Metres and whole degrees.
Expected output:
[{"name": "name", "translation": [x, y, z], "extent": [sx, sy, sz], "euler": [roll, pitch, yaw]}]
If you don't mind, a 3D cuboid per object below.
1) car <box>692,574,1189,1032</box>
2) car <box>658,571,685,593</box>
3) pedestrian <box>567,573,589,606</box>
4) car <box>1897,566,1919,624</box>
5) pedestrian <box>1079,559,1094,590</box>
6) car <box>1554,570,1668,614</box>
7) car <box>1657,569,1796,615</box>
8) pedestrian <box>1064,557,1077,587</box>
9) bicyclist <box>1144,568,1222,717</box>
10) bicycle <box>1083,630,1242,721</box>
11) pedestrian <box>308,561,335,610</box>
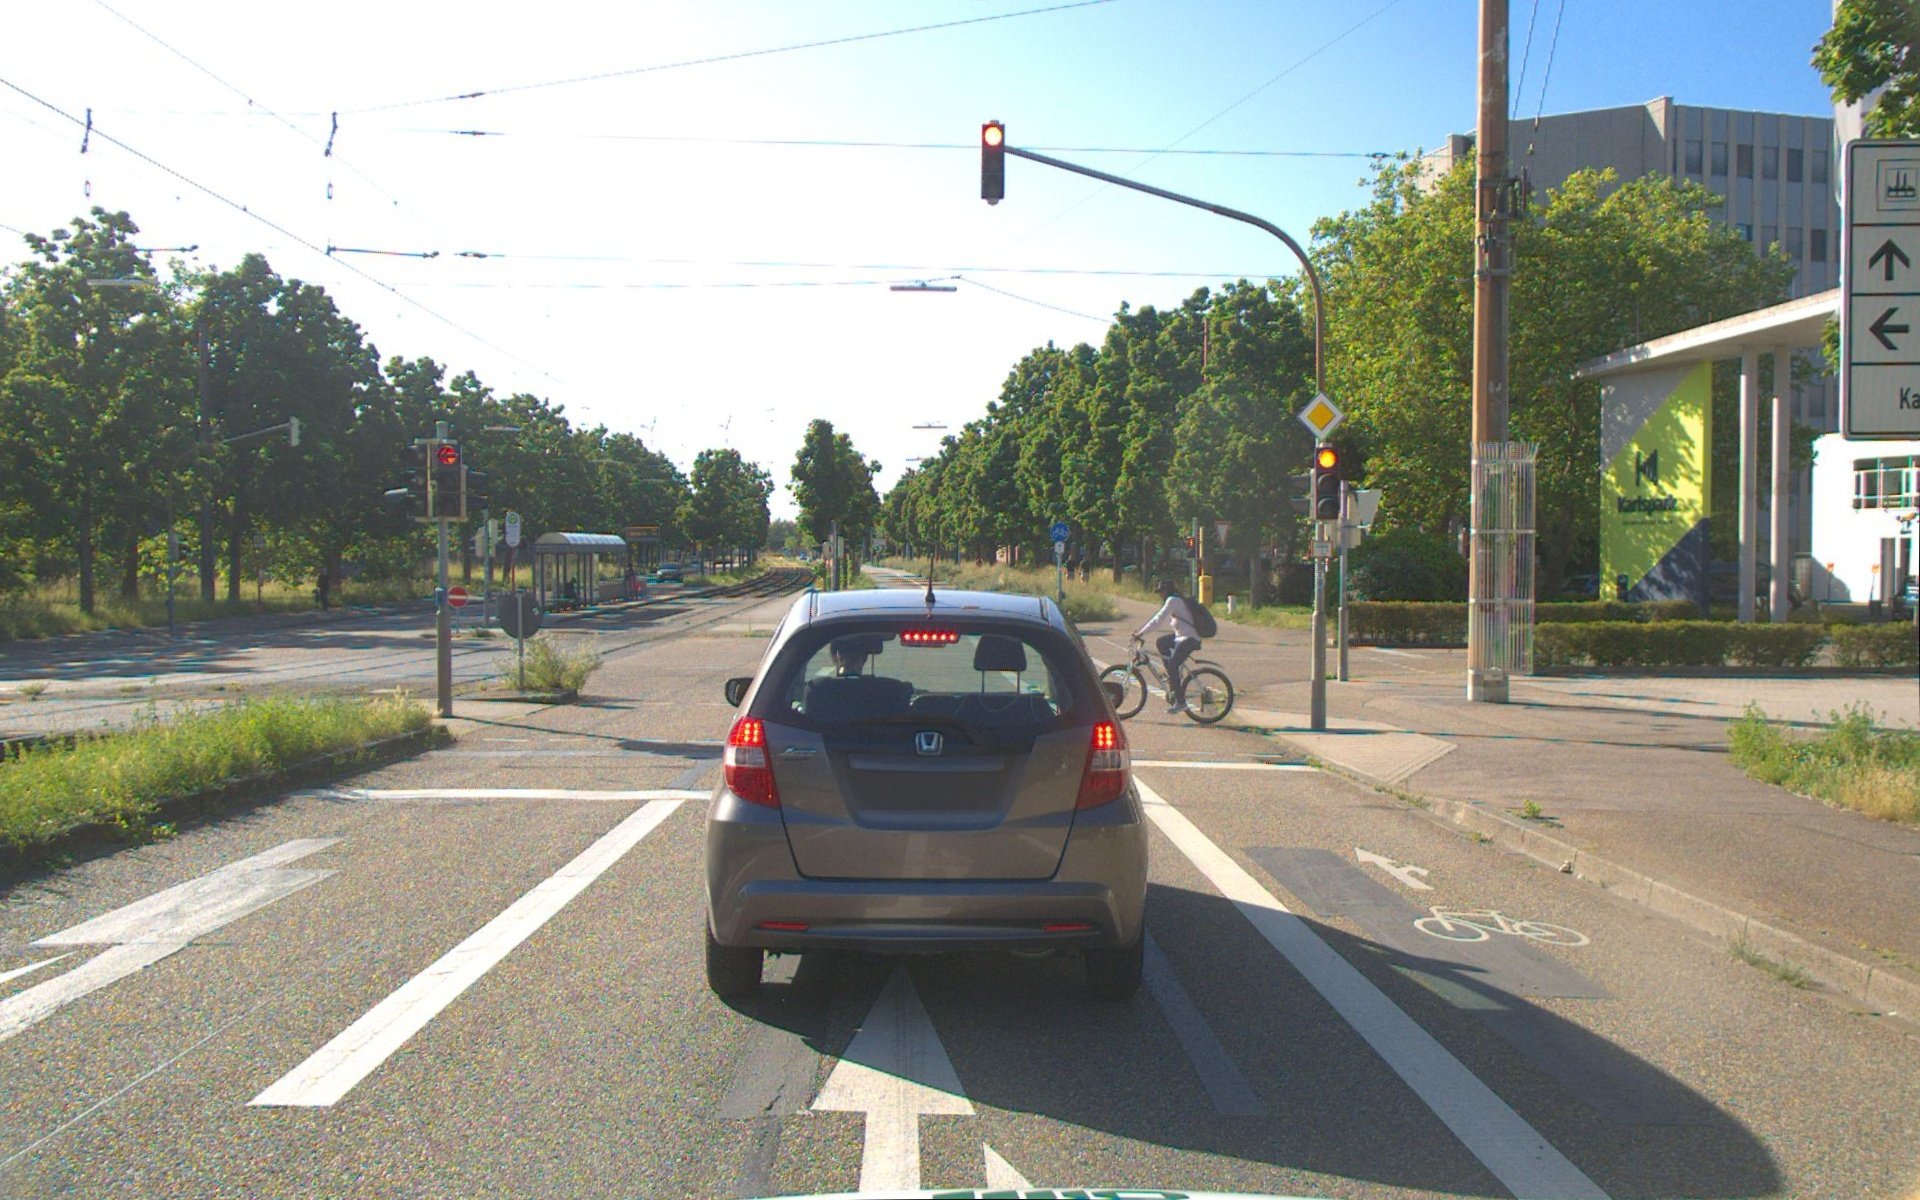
[{"name": "car", "translation": [-0.070, 0.680, 7.624], "extent": [1.672, 1.535, 4.000], "euler": [1, 0, 0]}, {"name": "car", "translation": [-24.123, -1.473, 138.294], "extent": [1.731, 1.768, 3.998], "euler": [0, 0, -3]}, {"name": "pedestrian", "translation": [-15.111, -0.411, 65.403], "extent": [0.706, 1.267, 0.710], "euler": [-1, 0, -3]}, {"name": "car", "translation": [31.055, -0.151, 50.556], "extent": [3.915, 1.750, 1.895], "euler": [0, 1, -10]}, {"name": "pedestrian", "translation": [6.865, -1.389, 89.702], "extent": [0.664, 1.638, 0.720], "euler": [1, 0, -3]}, {"name": "car", "translation": [26.660, -0.331, 67.753], "extent": [3.919, 1.788, 1.993], "euler": [0, 0, -14]}, {"name": "car", "translation": [28.102, -0.305, 60.701], "extent": [4.459, 1.658, 1.870], "euler": [0, 0, -14]}, {"name": "pedestrian", "translation": [5.982, -1.528, 89.546], "extent": [0.556, 1.624, 0.665], "euler": [1, 0, -5]}, {"name": "bicyclist", "translation": [2.732, 0.515, 20.225], "extent": [0.890, 1.775, 0.765], "euler": [-1, 0, 10]}, {"name": "bicycle", "translation": [2.487, 0.914, 20.262], "extent": [1.879, 1.015, 0.765], "euler": [1, 0, 10]}, {"name": "pedestrian", "translation": [-27.014, -0.615, 69.971], "extent": [0.823, 2.049, 0.863], "euler": [0, 0, -3]}]
